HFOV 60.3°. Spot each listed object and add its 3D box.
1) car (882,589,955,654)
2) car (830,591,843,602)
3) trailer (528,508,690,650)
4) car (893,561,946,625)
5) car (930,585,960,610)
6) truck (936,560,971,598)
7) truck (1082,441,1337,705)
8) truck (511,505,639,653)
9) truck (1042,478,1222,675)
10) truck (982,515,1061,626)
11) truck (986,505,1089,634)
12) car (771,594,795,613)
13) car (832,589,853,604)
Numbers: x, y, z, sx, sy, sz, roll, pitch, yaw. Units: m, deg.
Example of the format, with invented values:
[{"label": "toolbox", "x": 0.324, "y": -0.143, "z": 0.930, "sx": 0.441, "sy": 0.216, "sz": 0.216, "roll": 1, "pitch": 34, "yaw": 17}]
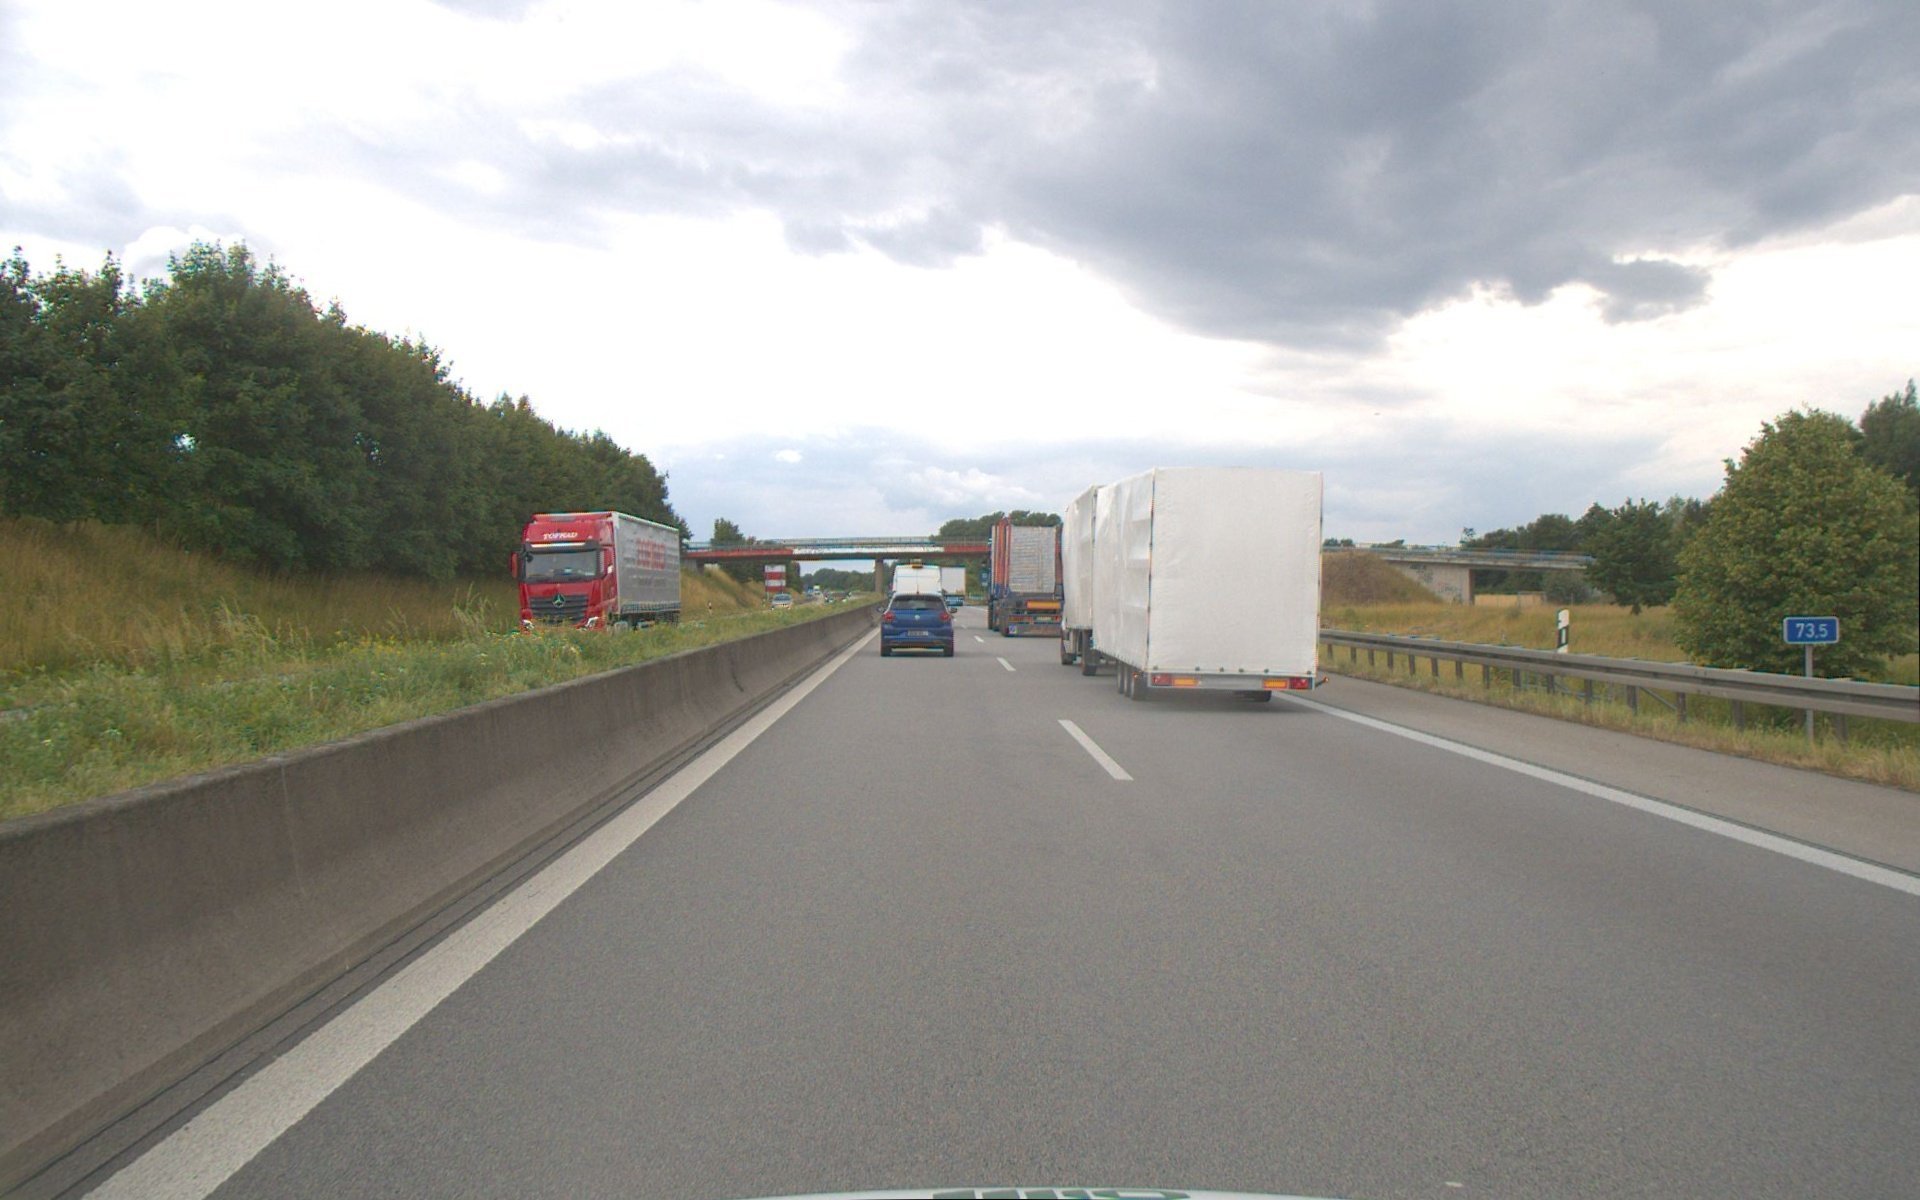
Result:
[{"label": "car", "x": -0.983, "y": 0.470, "z": 38.691, "sx": 1.630, "sy": 1.431, "sz": 3.647, "roll": 0, "pitch": 1, "yaw": -2}, {"label": "car", "x": -17.479, "y": -0.504, "z": 234.606, "sx": 1.613, "sy": 1.402, "sz": 4.234, "roll": -3, "pitch": 0, "yaw": -2}, {"label": "trailer", "x": -11.814, "y": -0.747, "z": 57.384, "sx": 2.652, "sy": 4.159, "sz": 14.594, "roll": -2, "pitch": 1, "yaw": -1}, {"label": "car", "x": -1.701, "y": -0.303, "z": 68.484, "sx": 2.087, "sy": 2.526, "sz": 5.838, "roll": 0, "pitch": 0, "yaw": -2}, {"label": "car", "x": -0.913, "y": -0.179, "z": 98.051, "sx": 1.630, "sy": 1.431, "sz": 3.647, "roll": 0, "pitch": 1, "yaw": -2}, {"label": "truck", "x": -0.718, "y": -2.159, "z": 172.548, "sx": 3.049, "sy": 3.754, "sz": 9.316, "roll": -2, "pitch": 0, "yaw": -3}, {"label": "truck", "x": 3.373, "y": -0.358, "z": 24.154, "sx": 2.367, "sy": 3.278, "sz": 7.140, "roll": 0, "pitch": 0, "yaw": -3}, {"label": "truck", "x": -11.655, "y": -0.644, "z": 50.522, "sx": 2.652, "sy": 4.159, "sz": 5.163, "roll": -2, "pitch": 1, "yaw": -1}, {"label": "truck", "x": 3.067, "y": -0.416, "z": 31.364, "sx": 2.381, "sy": 3.300, "sz": 7.244, "roll": 0, "pitch": 0, "yaw": -2}, {"label": "truck", "x": 2.327, "y": -1.150, "z": 64.286, "sx": 2.620, "sy": 4.116, "sz": 5.510, "roll": -1, "pitch": 1, "yaw": -3}, {"label": "truck", "x": 2.590, "y": -1.064, "z": 58.901, "sx": 2.620, "sy": 4.116, "sz": 11.102, "roll": -1, "pitch": 1, "yaw": -3}, {"label": "car", "x": -13.933, "y": 0.254, "z": 130.482, "sx": 1.613, "sy": 1.434, "sz": 3.886, "roll": -3, "pitch": 0, "yaw": -2}, {"label": "car", "x": -11.626, "y": -0.372, "z": 164.445, "sx": 1.811, "sy": 1.402, "sz": 4.599, "roll": -3, "pitch": 0, "yaw": -2}]
